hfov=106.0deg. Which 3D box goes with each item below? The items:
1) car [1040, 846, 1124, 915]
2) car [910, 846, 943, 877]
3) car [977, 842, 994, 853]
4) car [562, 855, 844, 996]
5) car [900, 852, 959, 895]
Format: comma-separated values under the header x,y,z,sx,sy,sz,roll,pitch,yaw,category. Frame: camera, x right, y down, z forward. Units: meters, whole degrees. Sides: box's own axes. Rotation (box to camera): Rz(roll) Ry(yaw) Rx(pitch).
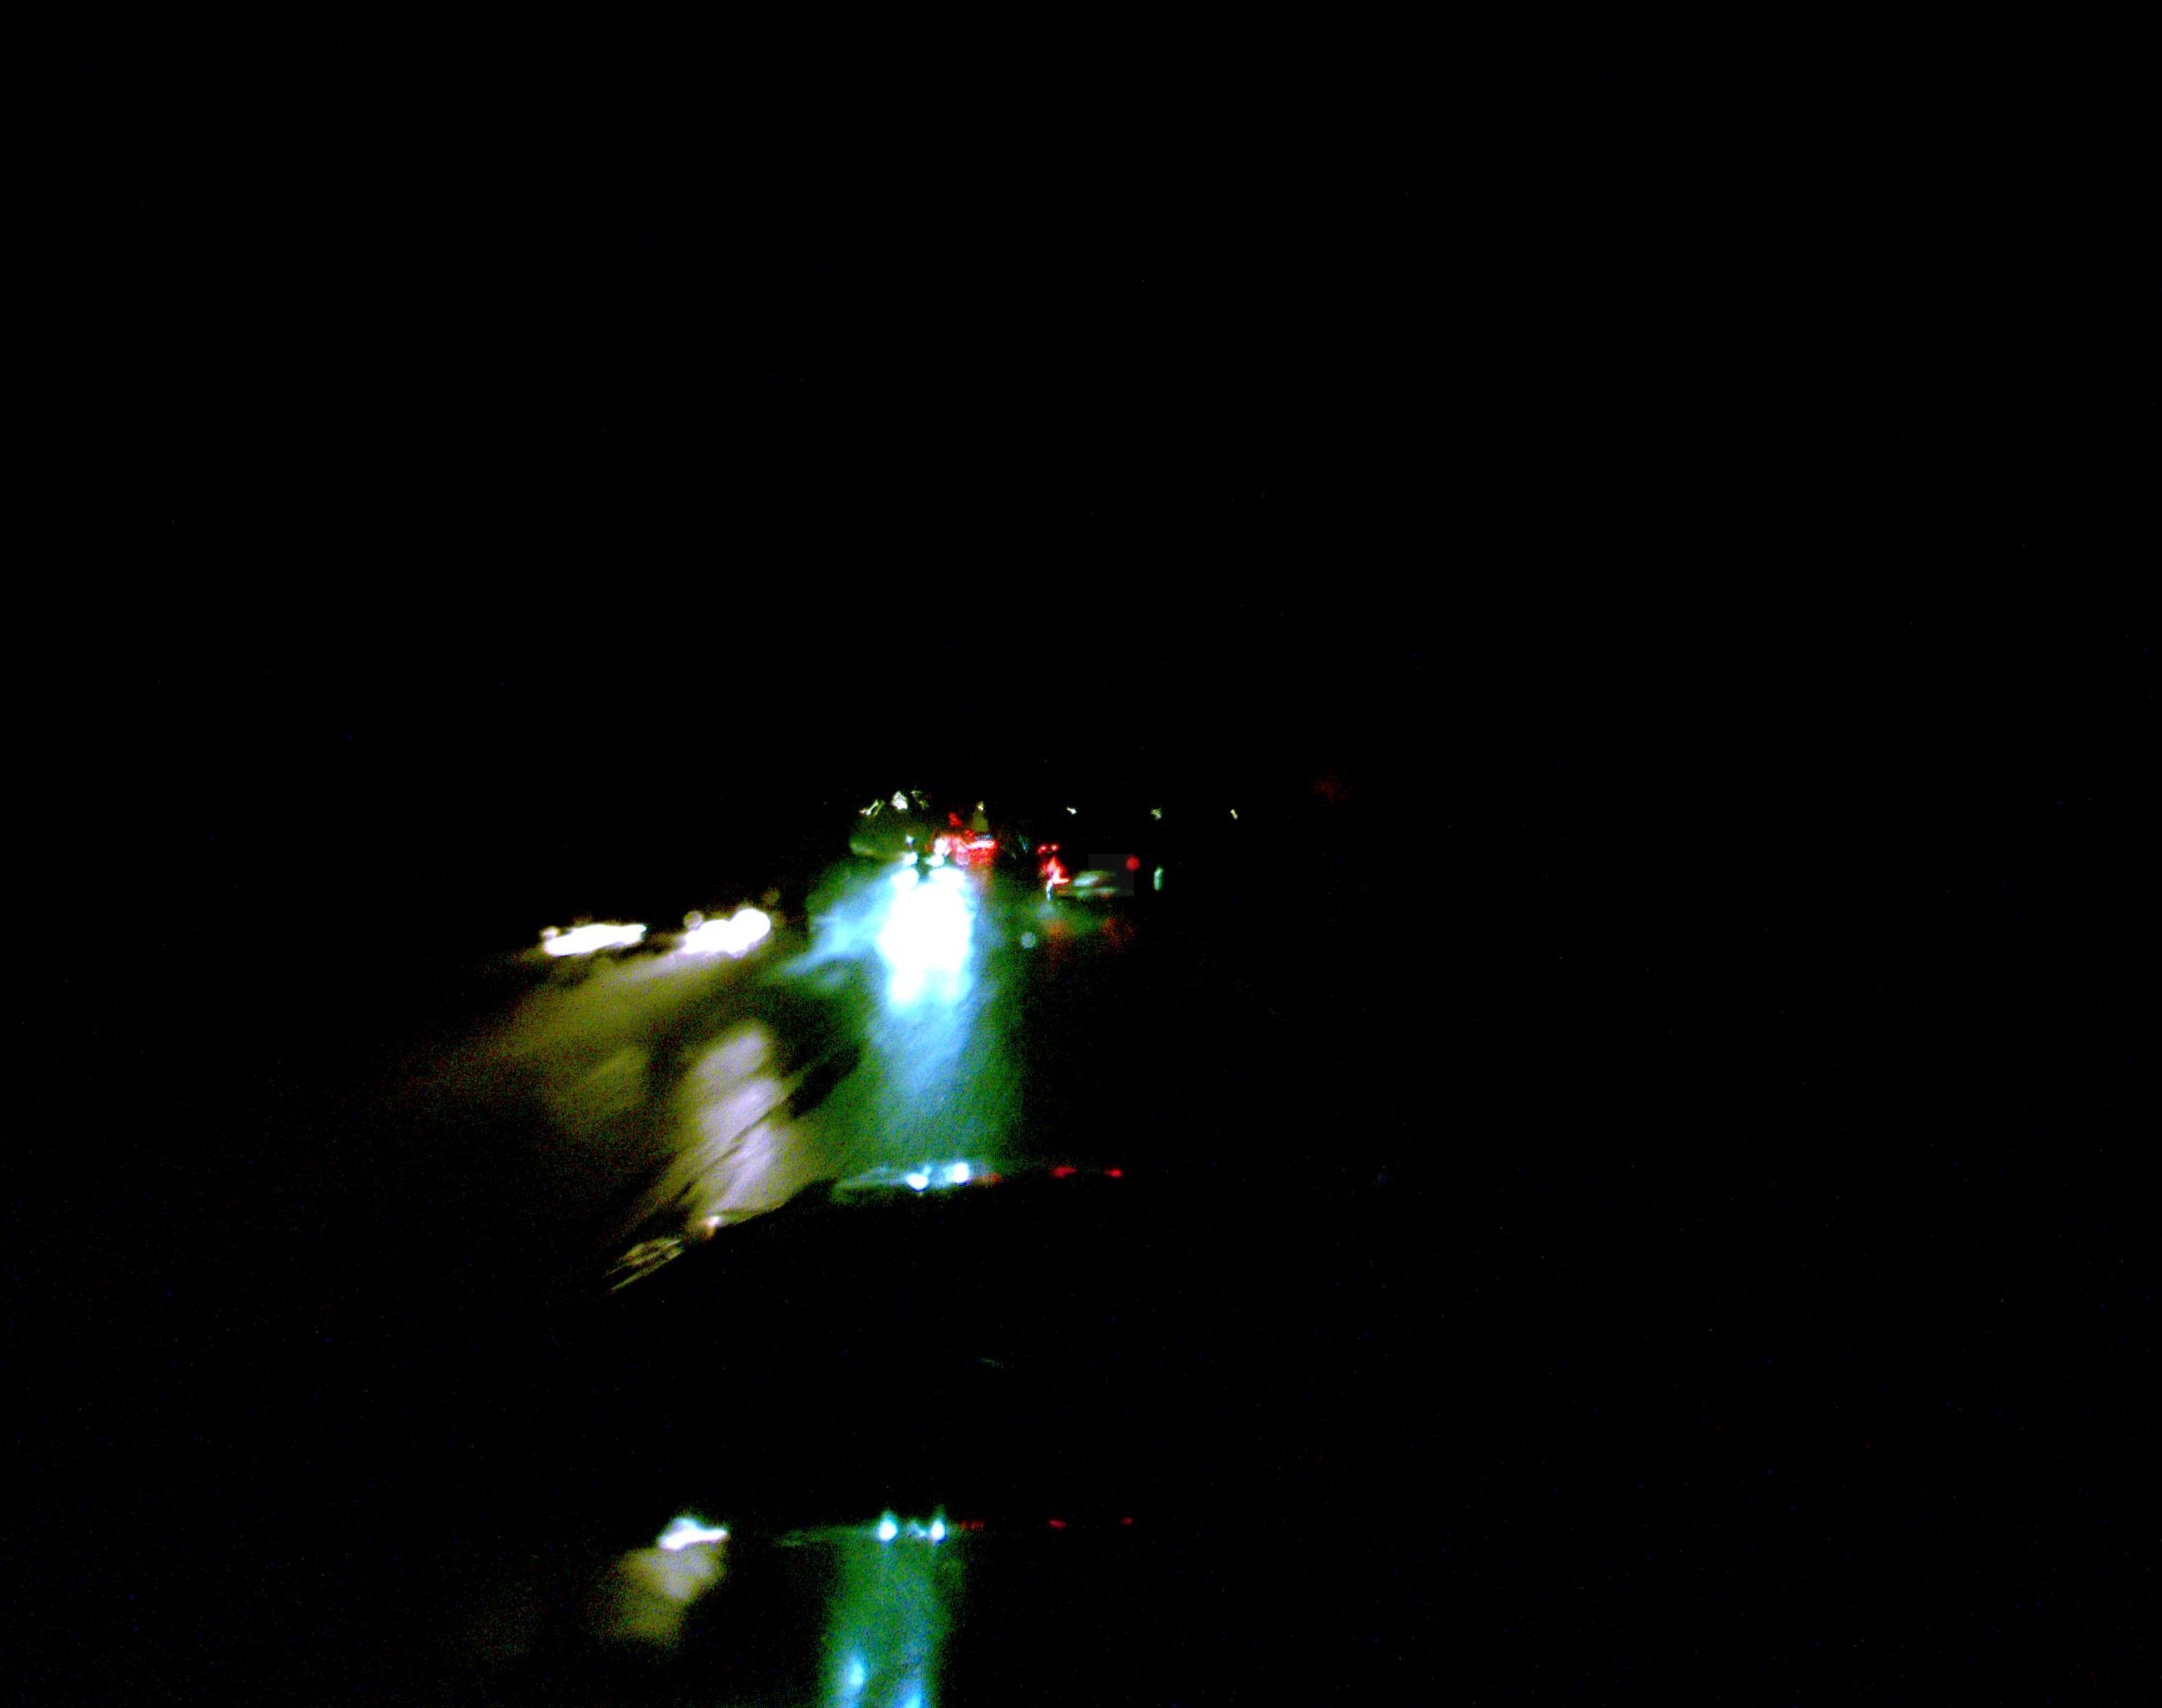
x,y,z,sx,sy,sz,roll,pitch,yaw,category
0.158,0.641,21.909,1.985,1.628,4.988,0,0,3,car
-9.455,0.462,49.557,1.861,1.747,4.942,0,0,-12,car
-16.091,-1.089,136.584,1.998,1.627,4.957,-3,2,-16,car
-4.387,0.726,10.264,1.767,1.389,4.227,0,0,-3,car
-5.246,0.662,28.603,1.770,1.389,4.025,0,0,-7,car
